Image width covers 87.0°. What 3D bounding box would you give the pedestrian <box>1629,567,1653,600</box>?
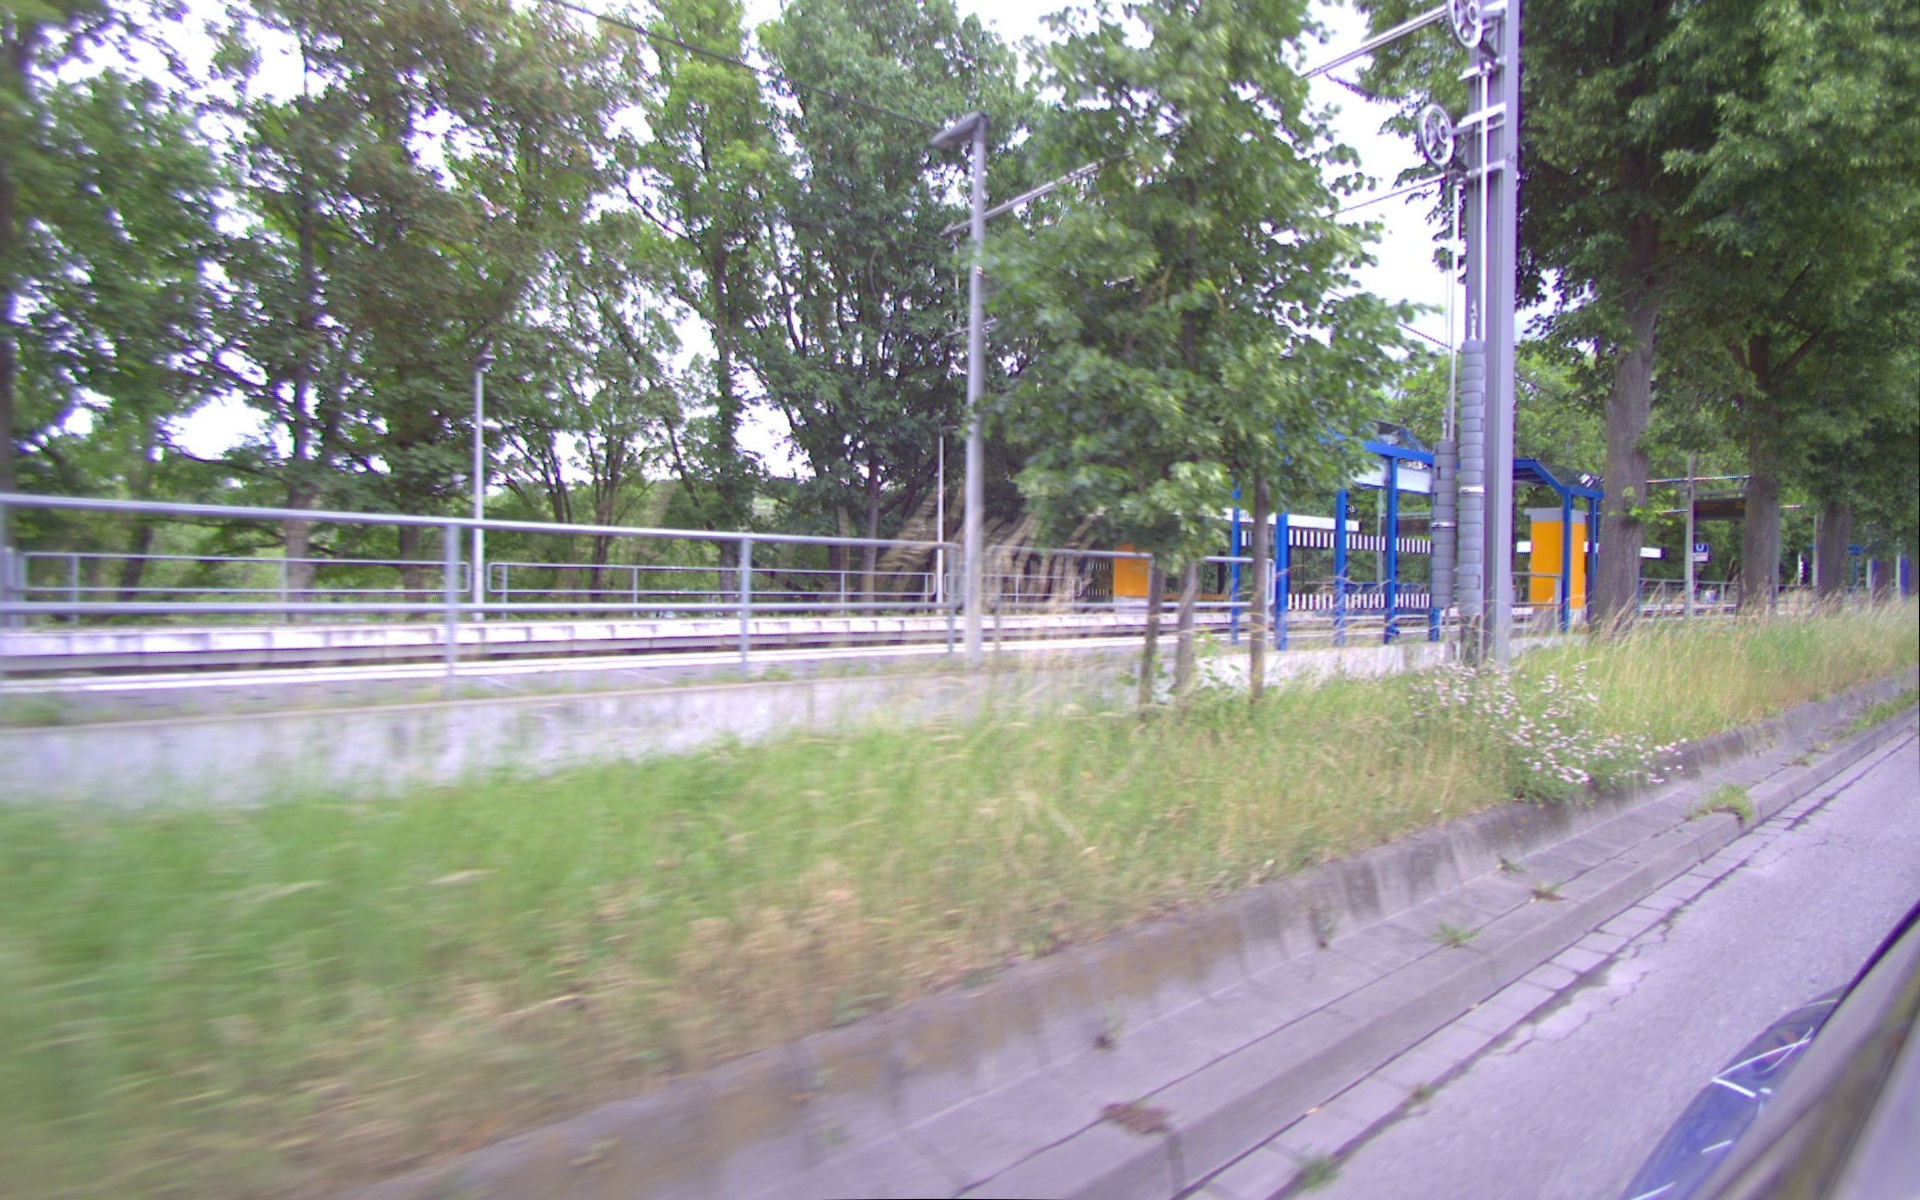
[{"bbox_3d":[32.655,-0.792,48.517,0.711,1.530,0.720,-1,-1,-38],"label":"pedestrian"}]
